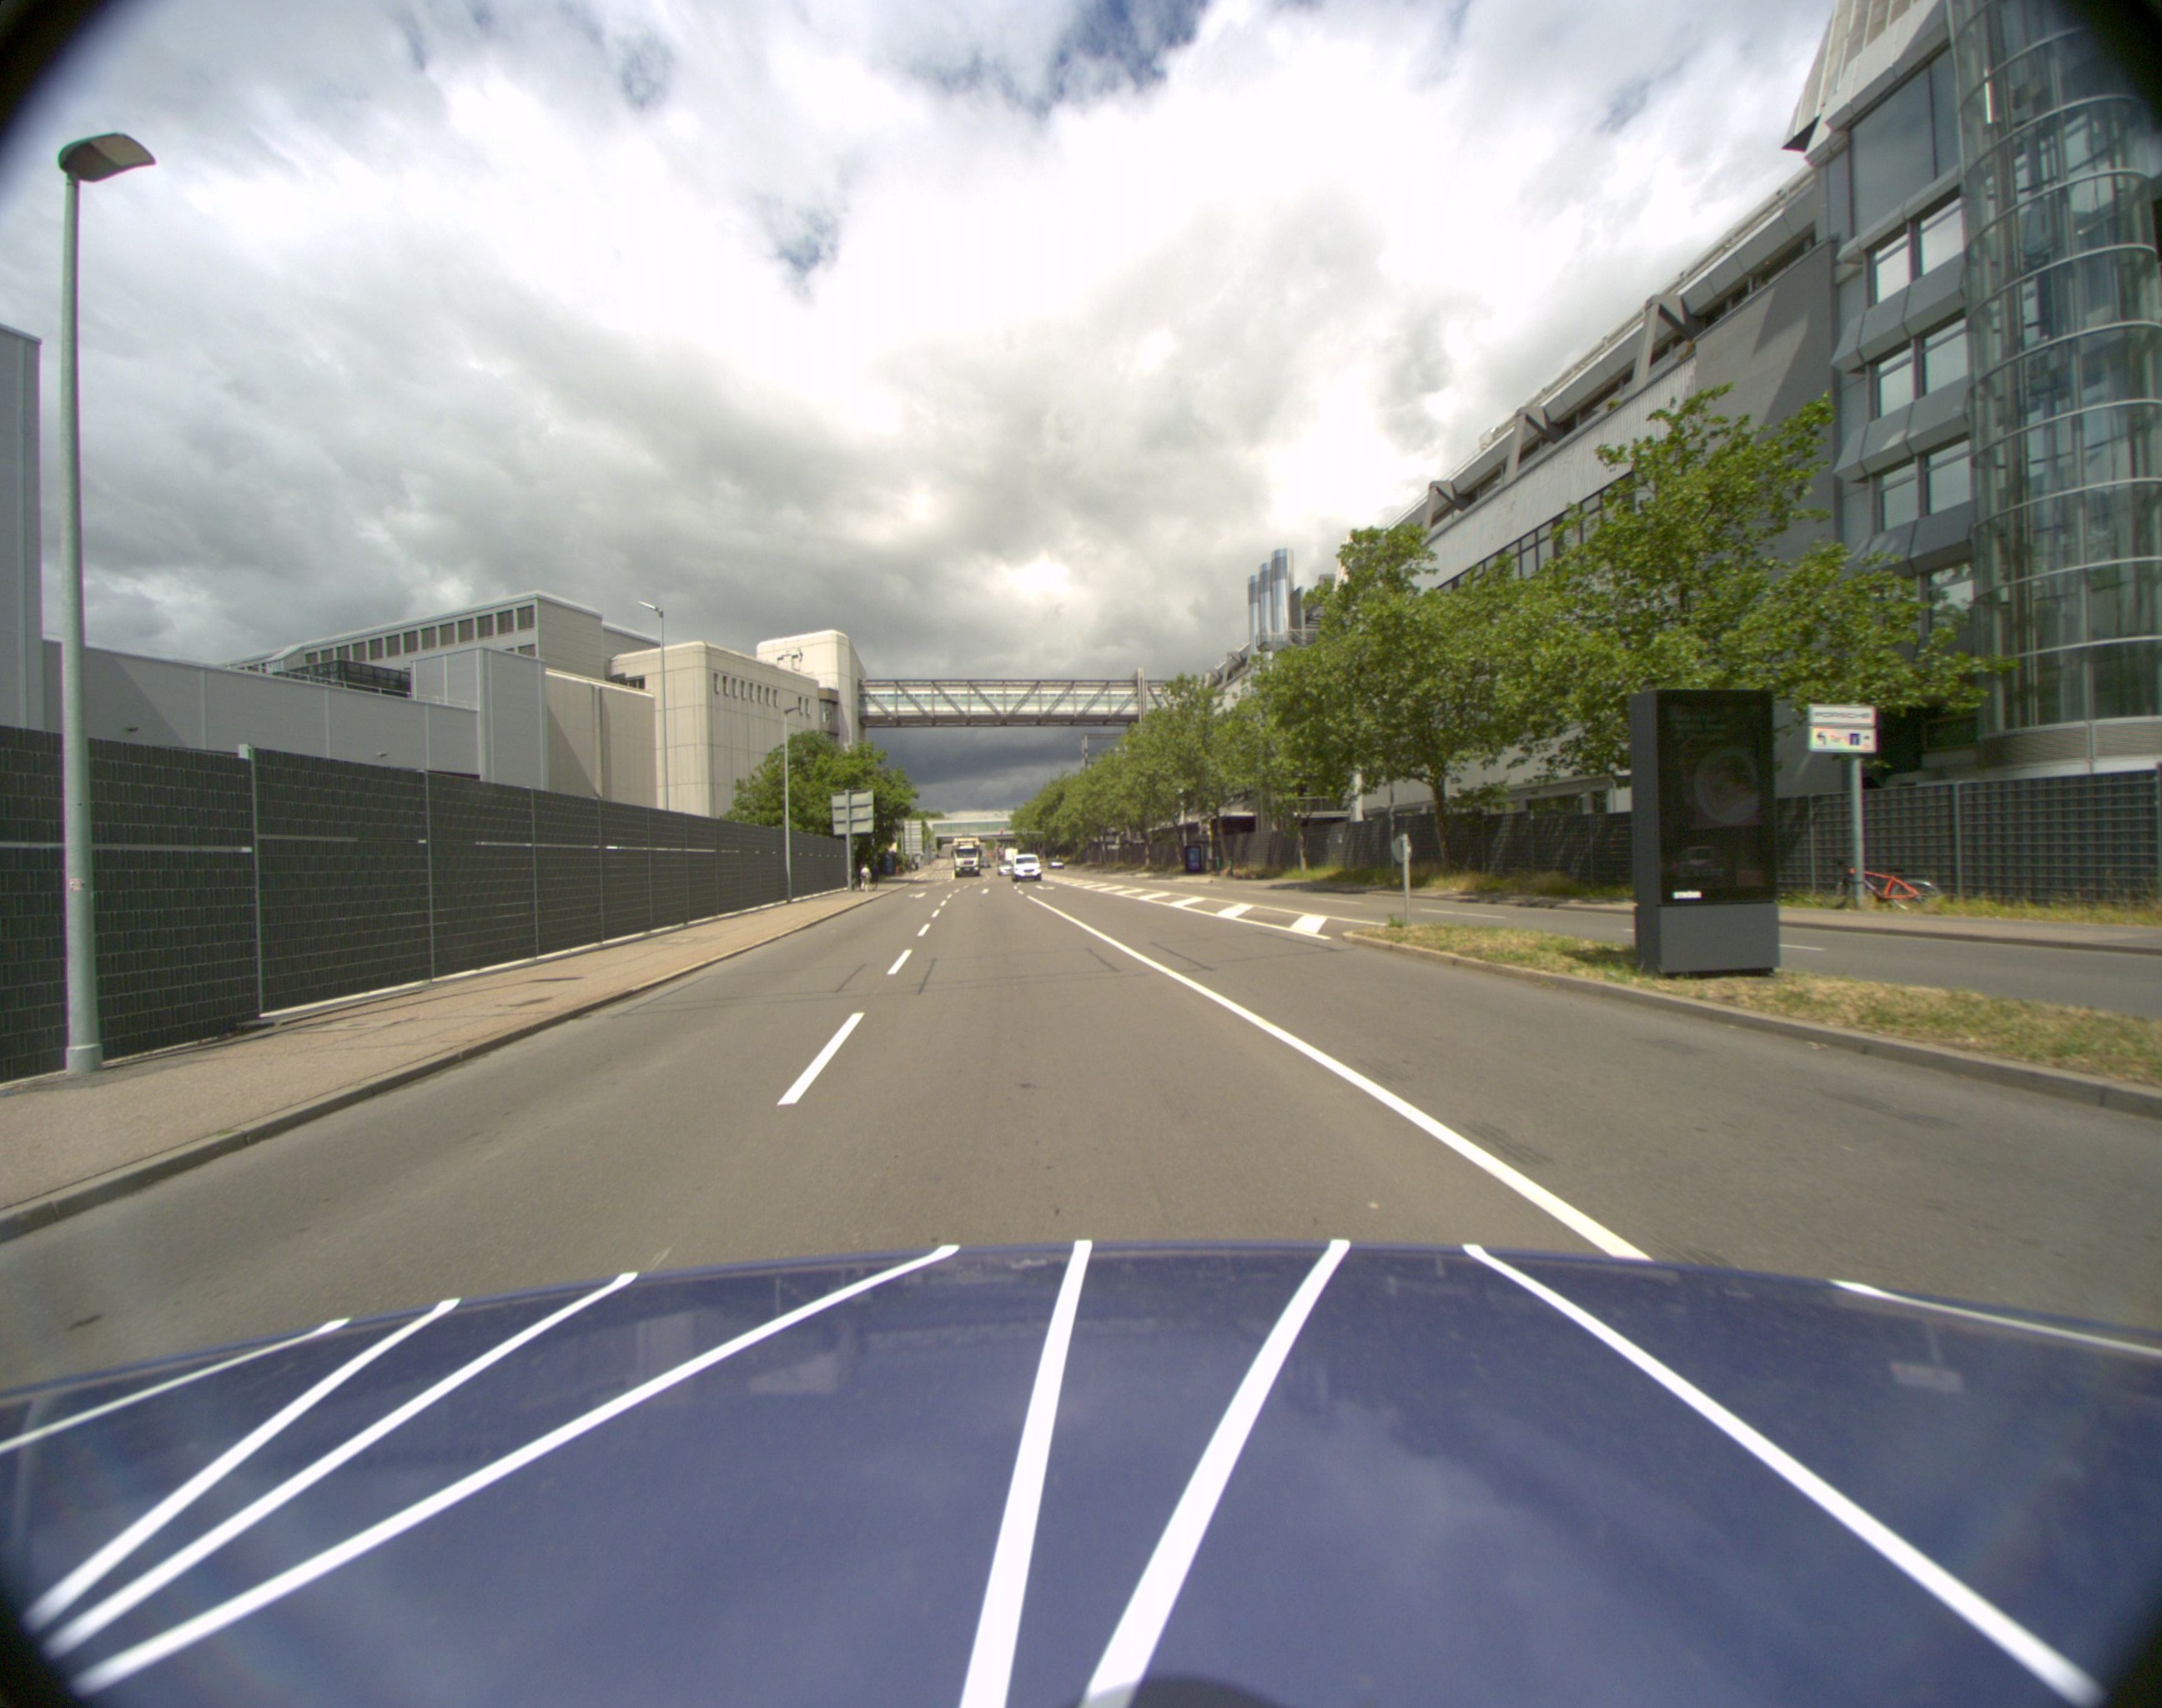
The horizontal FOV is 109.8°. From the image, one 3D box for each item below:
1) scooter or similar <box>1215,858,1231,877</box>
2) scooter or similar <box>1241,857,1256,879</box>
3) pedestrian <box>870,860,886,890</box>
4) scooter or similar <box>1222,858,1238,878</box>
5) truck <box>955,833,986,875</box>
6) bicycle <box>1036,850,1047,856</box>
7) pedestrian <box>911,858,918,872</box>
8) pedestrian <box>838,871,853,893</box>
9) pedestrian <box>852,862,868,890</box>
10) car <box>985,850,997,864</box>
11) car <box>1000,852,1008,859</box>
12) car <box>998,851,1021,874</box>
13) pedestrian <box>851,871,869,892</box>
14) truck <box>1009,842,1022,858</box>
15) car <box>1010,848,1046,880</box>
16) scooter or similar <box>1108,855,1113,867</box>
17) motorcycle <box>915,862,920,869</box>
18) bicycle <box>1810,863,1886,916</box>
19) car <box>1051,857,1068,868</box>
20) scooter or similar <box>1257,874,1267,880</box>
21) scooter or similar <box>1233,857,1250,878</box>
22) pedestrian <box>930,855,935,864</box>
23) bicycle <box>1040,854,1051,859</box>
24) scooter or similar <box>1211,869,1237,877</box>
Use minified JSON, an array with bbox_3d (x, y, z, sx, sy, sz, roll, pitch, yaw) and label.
[{"bbox_3d":[9.411,0.909,50.438,0.524,1.227,1.317,-5,0,-9],"label":"scooter or similar"},{"bbox_3d":[9.993,0.817,45.358,0.524,1.227,1.317,-5,0,-2],"label":"scooter or similar"},{"bbox_3d":[-12.030,1.221,45.067,0.797,1.711,0.731,-3,1,-12],"label":"pedestrian"},{"bbox_3d":[9.593,0.876,48.922,0.524,1.227,1.317,-5,0,-9],"label":"scooter or similar"},{"bbox_3d":[-11.298,-0.081,77.636,2.715,3.863,10.731,-3,1,-9],"label":"truck"},{"bbox_3d":[-9.884,-0.264,190.395,2.564,1.171,0.615,-3,1,-8],"label":"bicycle"},{"bbox_3d":[-20.830,1.375,95.031,0.812,1.635,0.996,-1,1,-10],"label":"pedestrian"},{"bbox_3d":[-13.442,1.585,43.362,0.598,1.200,0.716,-3,1,-5],"label":"pedestrian"},{"bbox_3d":[-13.382,1.321,46.013,0.797,1.588,0.731,-3,1,-10],"label":"pedestrian"},{"bbox_3d":[-14.338,0.422,120.915,1.873,1.944,4.707,-4,2,-7],"label":"car"},{"bbox_3d":[-19.734,0.401,194.561,1.741,1.674,4.210,-3,1,-8],"label":"car"},{"bbox_3d":[-6.925,0.792,73.292,1.873,1.944,4.707,-4,1,-7],"label":"car"},{"bbox_3d":[-12.689,1.580,43.653,0.760,1.142,0.971,-3,1,-5],"label":"pedestrian"},{"bbox_3d":[-13.404,-0.834,154.935,2.459,3.111,7.238,-3,1,-5],"label":"truck"},{"bbox_3d":[-3.660,0.708,51.810,1.826,2.001,4.388,-2,-1,-11],"label":"car"},{"bbox_3d":[3.452,0.787,88.465,0.304,1.395,1.234,-3,1,-8],"label":"scooter or similar"},{"bbox_3d":[-24.083,1.672,111.854,0.592,1.061,2.035,-1,0,-8],"label":"motorcycle"},{"bbox_3d":[15.705,0.700,15.585,0.297,1.000,1.252,-3,1,2],"label":"bicycle"},{"bbox_3d":[-3.032,1.204,105.091,1.884,1.496,4.188,0,0,-8],"label":"car"},{"bbox_3d":[10.639,1.353,44.641,0.538,0.320,1.274,-3,0,17],"label":"scooter or similar"},{"bbox_3d":[9.869,0.855,46.734,0.524,1.227,1.317,-5,0,-6],"label":"scooter or similar"},{"bbox_3d":[-30.672,1.118,156.845,0.730,1.756,1.015,-3,1,-8],"label":"pedestrian"},{"bbox_3d":[-8.374,0.531,178.151,2.563,1.079,0.615,-3,1,-3],"label":"bicycle"},{"bbox_3d":[9.763,1.311,51.992,1.361,0.378,1.492,-5,0,27],"label":"scooter or similar"}]
